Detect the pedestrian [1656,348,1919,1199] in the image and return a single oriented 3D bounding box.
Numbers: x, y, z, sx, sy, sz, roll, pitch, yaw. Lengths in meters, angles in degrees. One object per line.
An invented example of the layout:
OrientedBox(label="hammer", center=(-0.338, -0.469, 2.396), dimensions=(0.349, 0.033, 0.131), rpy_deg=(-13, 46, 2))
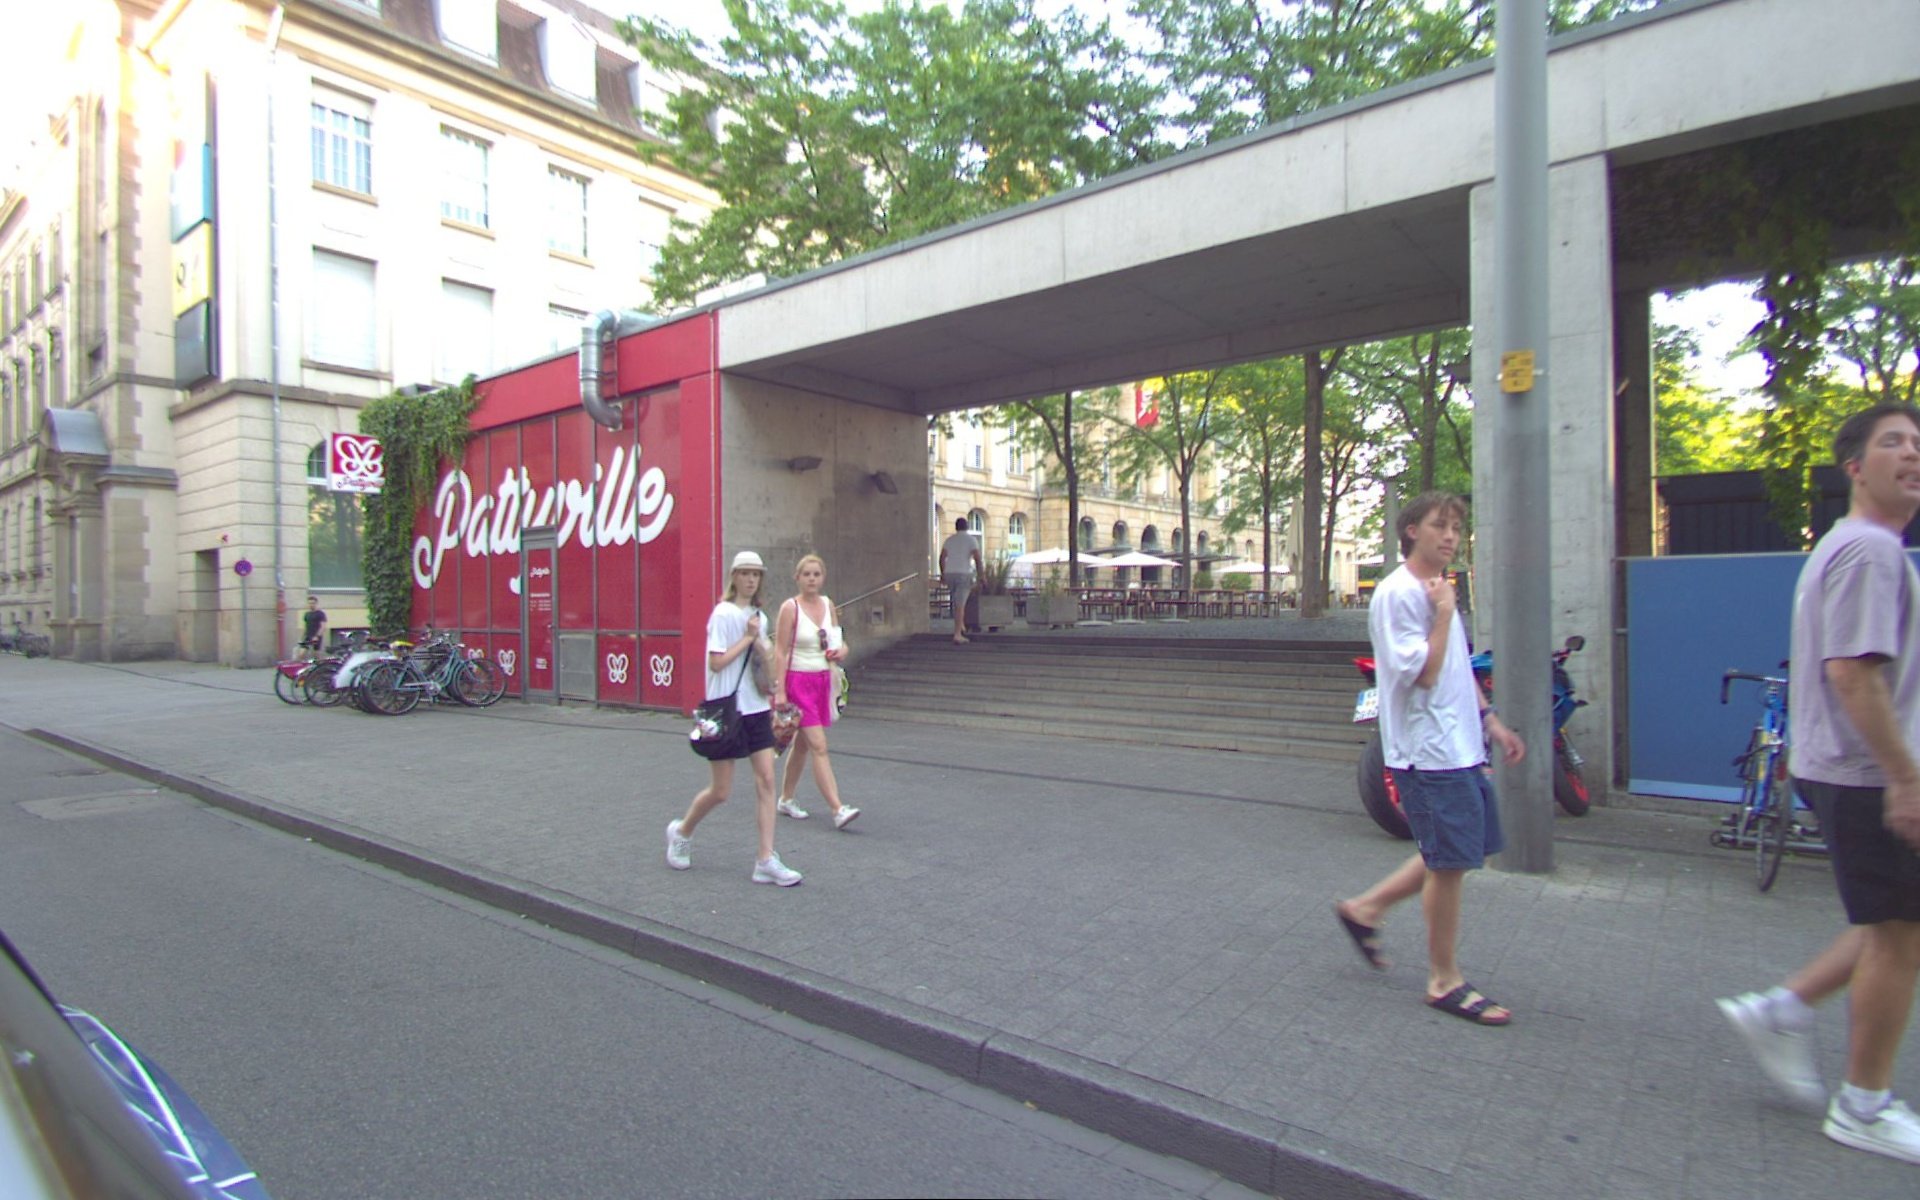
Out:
OrientedBox(label="pedestrian", center=(2.344, 0.406, 2.505), dimensions=(0.889, 1.897, 0.972), rpy_deg=(-2, 0, 41))

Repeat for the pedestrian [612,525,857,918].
OrientedBox(label="pedestrian", center=(-1.167, 0.554, 5.254), dimensions=(0.868, 1.807, 0.840), rpy_deg=(-2, 0, 41))

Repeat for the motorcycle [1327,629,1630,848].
OrientedBox(label="motorcycle", center=(3.090, 0.757, 6.000), dimensions=(1.797, 1.077, 0.535), rpy_deg=(-2, 0, -23))

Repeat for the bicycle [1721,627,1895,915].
OrientedBox(label="bicycle", center=(4.210, 0.724, 5.038), dimensions=(0.550, 1.095, 1.848), rpy_deg=(-2, 1, 40))

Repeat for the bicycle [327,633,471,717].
OrientedBox(label="bicycle", center=(-8.274, 1.078, 14.991), dimensions=(0.354, 1.091, 1.819), rpy_deg=(-1, 1, 44))

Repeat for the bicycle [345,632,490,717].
OrientedBox(label="bicycle", center=(-7.880, 1.054, 14.761), dimensions=(0.354, 1.091, 1.819), rpy_deg=(-1, 0, 44))

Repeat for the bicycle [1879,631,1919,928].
OrientedBox(label="bicycle", center=(4.384, 0.724, 4.429), dimensions=(1.475, 1.096, 0.436), rpy_deg=(-2, 1, -44))

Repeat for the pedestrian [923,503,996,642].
OrientedBox(label="pedestrian", center=(0.008, -0.375, 14.129), dimensions=(0.933, 1.841, 0.832), rpy_deg=(-2, 0, 2))

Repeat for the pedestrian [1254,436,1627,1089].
OrientedBox(label="pedestrian", center=(1.659, 0.445, 3.462), dimensions=(0.889, 1.807, 0.972), rpy_deg=(-2, 0, 41))

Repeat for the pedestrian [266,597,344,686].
OrientedBox(label="pedestrian", center=(-14.131, 0.873, 21.846), dimensions=(0.936, 1.841, 1.004), rpy_deg=(-2, 0, 12))

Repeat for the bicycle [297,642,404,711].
OrientedBox(label="bicycle", center=(-9.741, 1.200, 16.228), dimensions=(0.311, 0.963, 1.486), rpy_deg=(-2, 1, 30))

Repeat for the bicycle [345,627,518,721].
OrientedBox(label="bicycle", center=(-7.556, 1.029, 14.578), dimensions=(0.446, 1.164, 2.150), rpy_deg=(-1, 1, 44))

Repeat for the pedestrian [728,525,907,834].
OrientedBox(label="pedestrian", center=(-0.903, 0.462, 6.465), dimensions=(0.736, 1.807, 0.801), rpy_deg=(-2, 0, 41))

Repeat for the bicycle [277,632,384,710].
OrientedBox(label="bicycle", center=(-10.280, 1.139, 16.563), dimensions=(0.311, 1.149, 1.486), rpy_deg=(-2, 1, 30))

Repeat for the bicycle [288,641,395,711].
OrientedBox(label="bicycle", center=(-9.995, 1.209, 16.407), dimensions=(0.311, 0.986, 1.486), rpy_deg=(-2, 1, 30))

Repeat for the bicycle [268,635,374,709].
OrientedBox(label="bicycle", center=(-10.557, 1.170, 16.767), dimensions=(0.311, 1.084, 1.486), rpy_deg=(-2, 1, 30))
